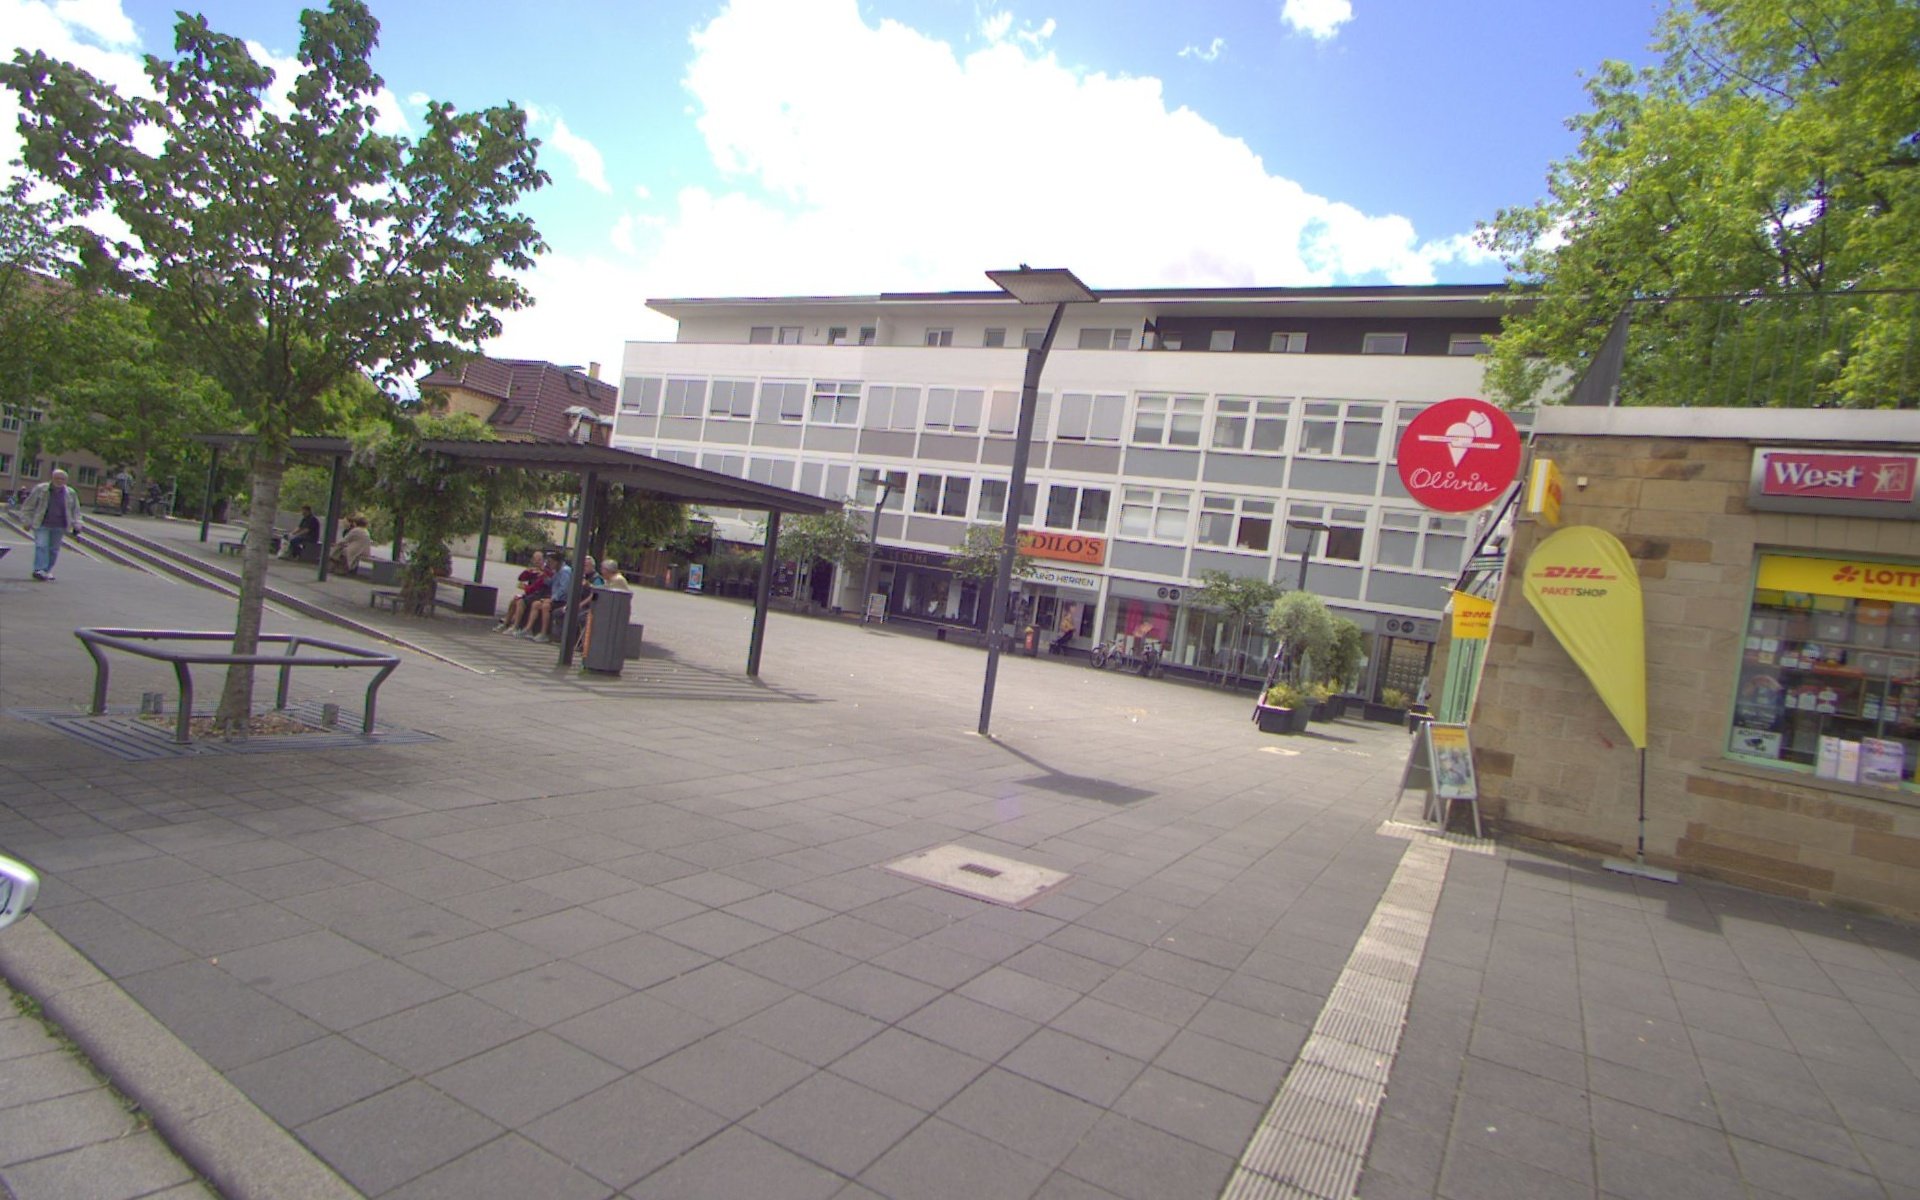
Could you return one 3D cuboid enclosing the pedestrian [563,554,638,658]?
[{"bbox_3d":[-5.025,0.087,14.063,0.577,1.337,0.615,10,2,37],"label":"pedestrian"}]

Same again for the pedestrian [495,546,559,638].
[{"bbox_3d":[-6.523,-0.120,15.156,0.533,1.278,0.568,10,2,38],"label":"pedestrian"}]

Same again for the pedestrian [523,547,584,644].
[{"bbox_3d":[-5.997,-0.069,14.827,0.517,1.337,0.498,10,3,38],"label":"pedestrian"}]

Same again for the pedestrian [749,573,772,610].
[{"bbox_3d":[-7.573,-0.326,38.249,0.535,1.339,0.570,7,0,8],"label":"pedestrian"}]

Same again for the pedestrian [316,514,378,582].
[{"bbox_3d":[-12.868,-1.085,21.138,0.757,1.284,0.676,8,0,-3],"label":"pedestrian"}]

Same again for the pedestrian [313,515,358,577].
[{"bbox_3d":[-13.545,-1.170,21.820,0.559,1.242,0.566,7,-1,43],"label":"pedestrian"}]

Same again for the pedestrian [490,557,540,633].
[{"bbox_3d":[-6.858,-0.077,15.513,0.363,1.103,0.475,10,2,38],"label":"pedestrian"}]

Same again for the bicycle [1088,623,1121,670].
[{"bbox_3d":[4.661,1.491,32.595,0.675,1.324,2.026,7,1,1],"label":"bicycle"}]

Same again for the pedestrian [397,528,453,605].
[{"bbox_3d":[-9.817,-0.613,18.470,0.538,1.324,0.623,8,2,38],"label":"pedestrian"}]

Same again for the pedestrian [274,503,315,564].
[{"bbox_3d":[-15.677,-1.570,23.681,0.538,1.339,0.566,7,0,43],"label":"pedestrian"}]

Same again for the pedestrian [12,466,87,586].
[{"bbox_3d":[-13.904,-1.124,15.358,0.705,1.703,0.683,7,0,45],"label":"pedestrian"}]

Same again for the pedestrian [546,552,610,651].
[{"bbox_3d":[-5.508,0.025,14.504,0.566,1.337,0.495,10,2,37],"label":"pedestrian"}]

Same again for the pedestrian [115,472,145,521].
[{"bbox_3d":[-27.799,-3.461,33.712,0.446,1.527,0.504,8,1,23],"label":"pedestrian"}]

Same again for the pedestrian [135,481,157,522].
[{"bbox_3d":[-27.798,-3.360,34.338,0.632,1.301,0.362,8,1,39],"label":"pedestrian"}]

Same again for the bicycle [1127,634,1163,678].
[{"bbox_3d":[5.839,1.744,31.832,0.675,1.157,2.025,7,2,1],"label":"bicycle"}]

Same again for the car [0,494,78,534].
[{"bbox_3d":[-43.214,-4.013,46.786,1.589,1.399,3.826,8,-1,-14],"label":"car"}]

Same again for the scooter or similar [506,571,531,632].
[{"bbox_3d":[-7.031,0.017,16.011,0.246,0.905,0.504,7,2,-25],"label":"scooter or similar"}]
